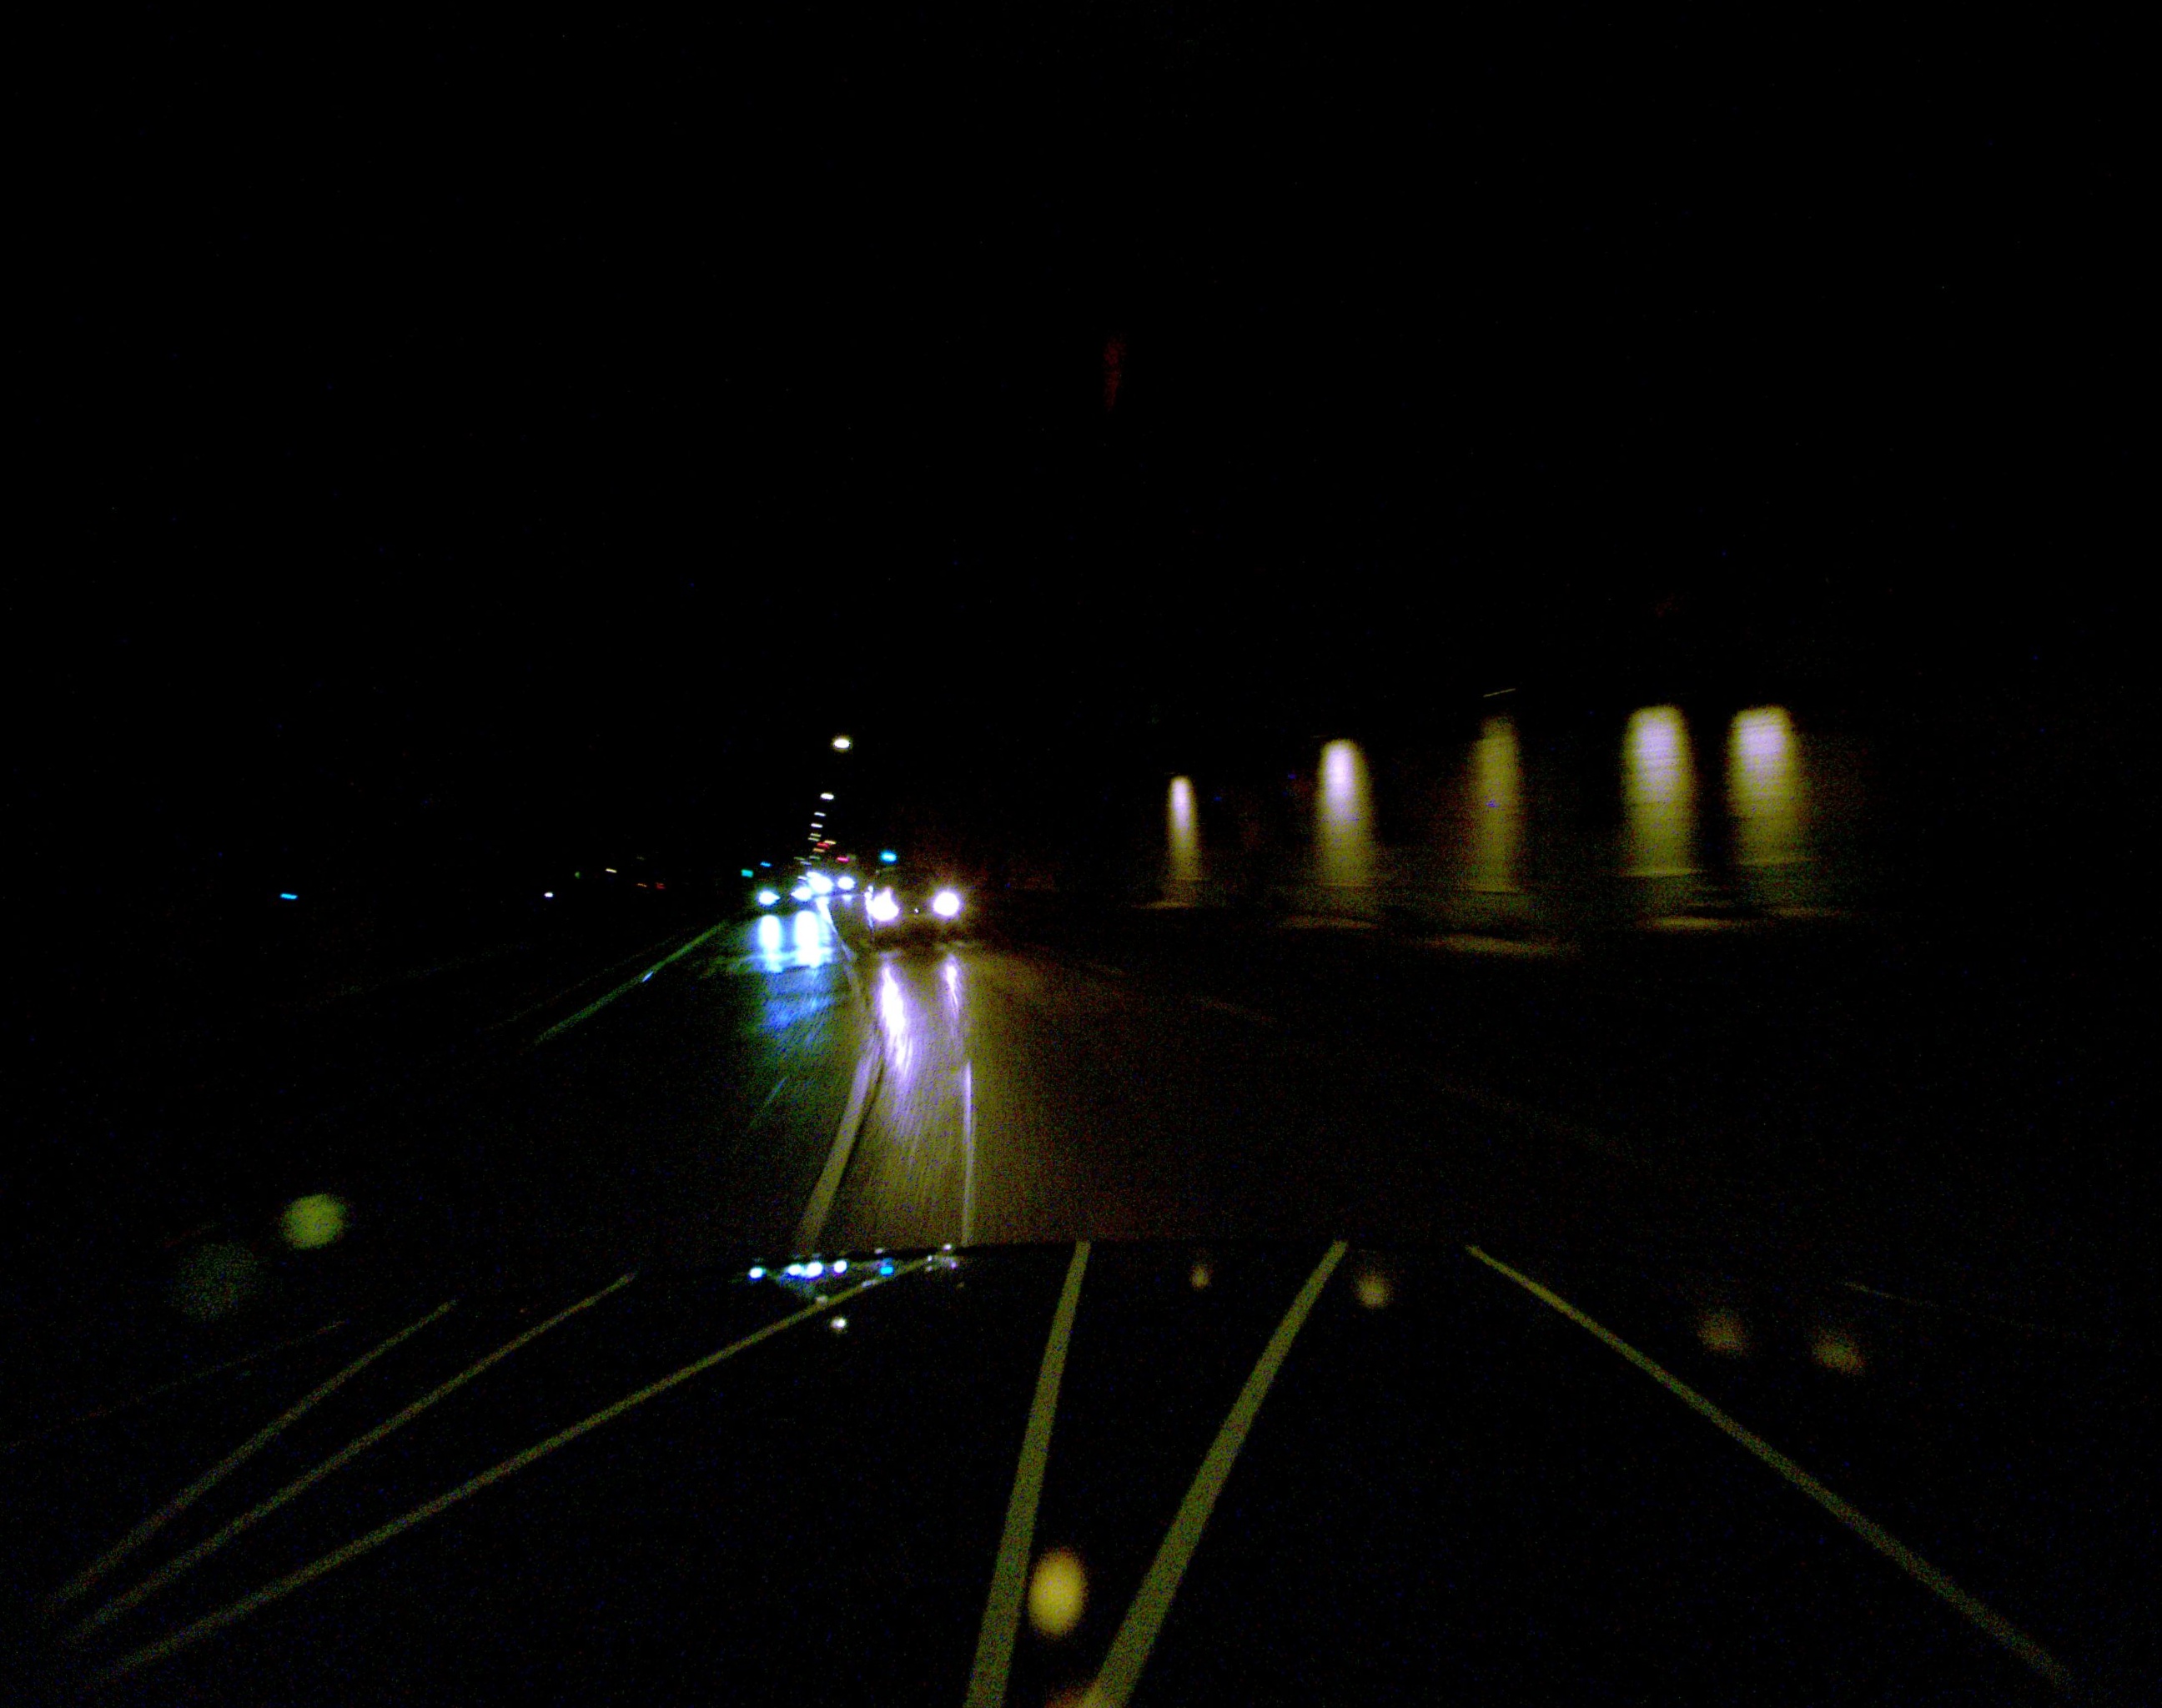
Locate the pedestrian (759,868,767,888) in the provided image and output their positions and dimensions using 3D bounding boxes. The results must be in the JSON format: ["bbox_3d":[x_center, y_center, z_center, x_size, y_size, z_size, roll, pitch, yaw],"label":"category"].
[{"bbox_3d":[-30.725,2.305,73.380,0.624,1.801,0.758,-4,1,-19],"label":"pedestrian"}]

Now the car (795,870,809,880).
[{"bbox_3d":[-38.992,2.923,106.270,1.621,1.259,3.622,-5,1,-17],"label":"car"}]

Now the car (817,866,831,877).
[{"bbox_3d":[-44.417,3.027,131.265,2.001,1.626,3.995,-3,0,-17],"label":"car"}]

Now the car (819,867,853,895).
[{"bbox_3d":[-14.859,1.599,46.002,1.731,1.455,3.993,-3,1,-20],"label":"car"}]

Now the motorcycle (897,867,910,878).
[{"bbox_3d":[-20.536,2.154,87.973,0.574,1.173,2.027,-4,1,-37],"label":"motorcycle"}]

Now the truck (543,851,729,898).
[{"bbox_3d":[-47.682,2.085,82.331,16.846,3.961,3.126,-3,1,-20],"label":"truck"}]

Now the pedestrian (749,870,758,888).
[{"bbox_3d":[-31.364,2.397,72.701,0.623,1.629,0.678,-4,1,-19],"label":"pedestrian"}]

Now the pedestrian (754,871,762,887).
[{"bbox_3d":[-31.514,2.453,74.165,0.574,1.525,0.632,-4,1,-19],"label":"pedestrian"}]

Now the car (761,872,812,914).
[{"bbox_3d":[-12.374,1.583,32.125,1.731,1.422,4.491,-5,1,-19],"label":"car"}]

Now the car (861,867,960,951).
[{"bbox_3d":[-3.776,1.078,16.403,1.636,1.430,3.834,-4,1,-18],"label":"car"}]

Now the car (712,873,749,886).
[{"bbox_3d":[-45.476,3.260,98.703,4.098,1.446,1.784,-3,1,-20],"label":"car"}]
